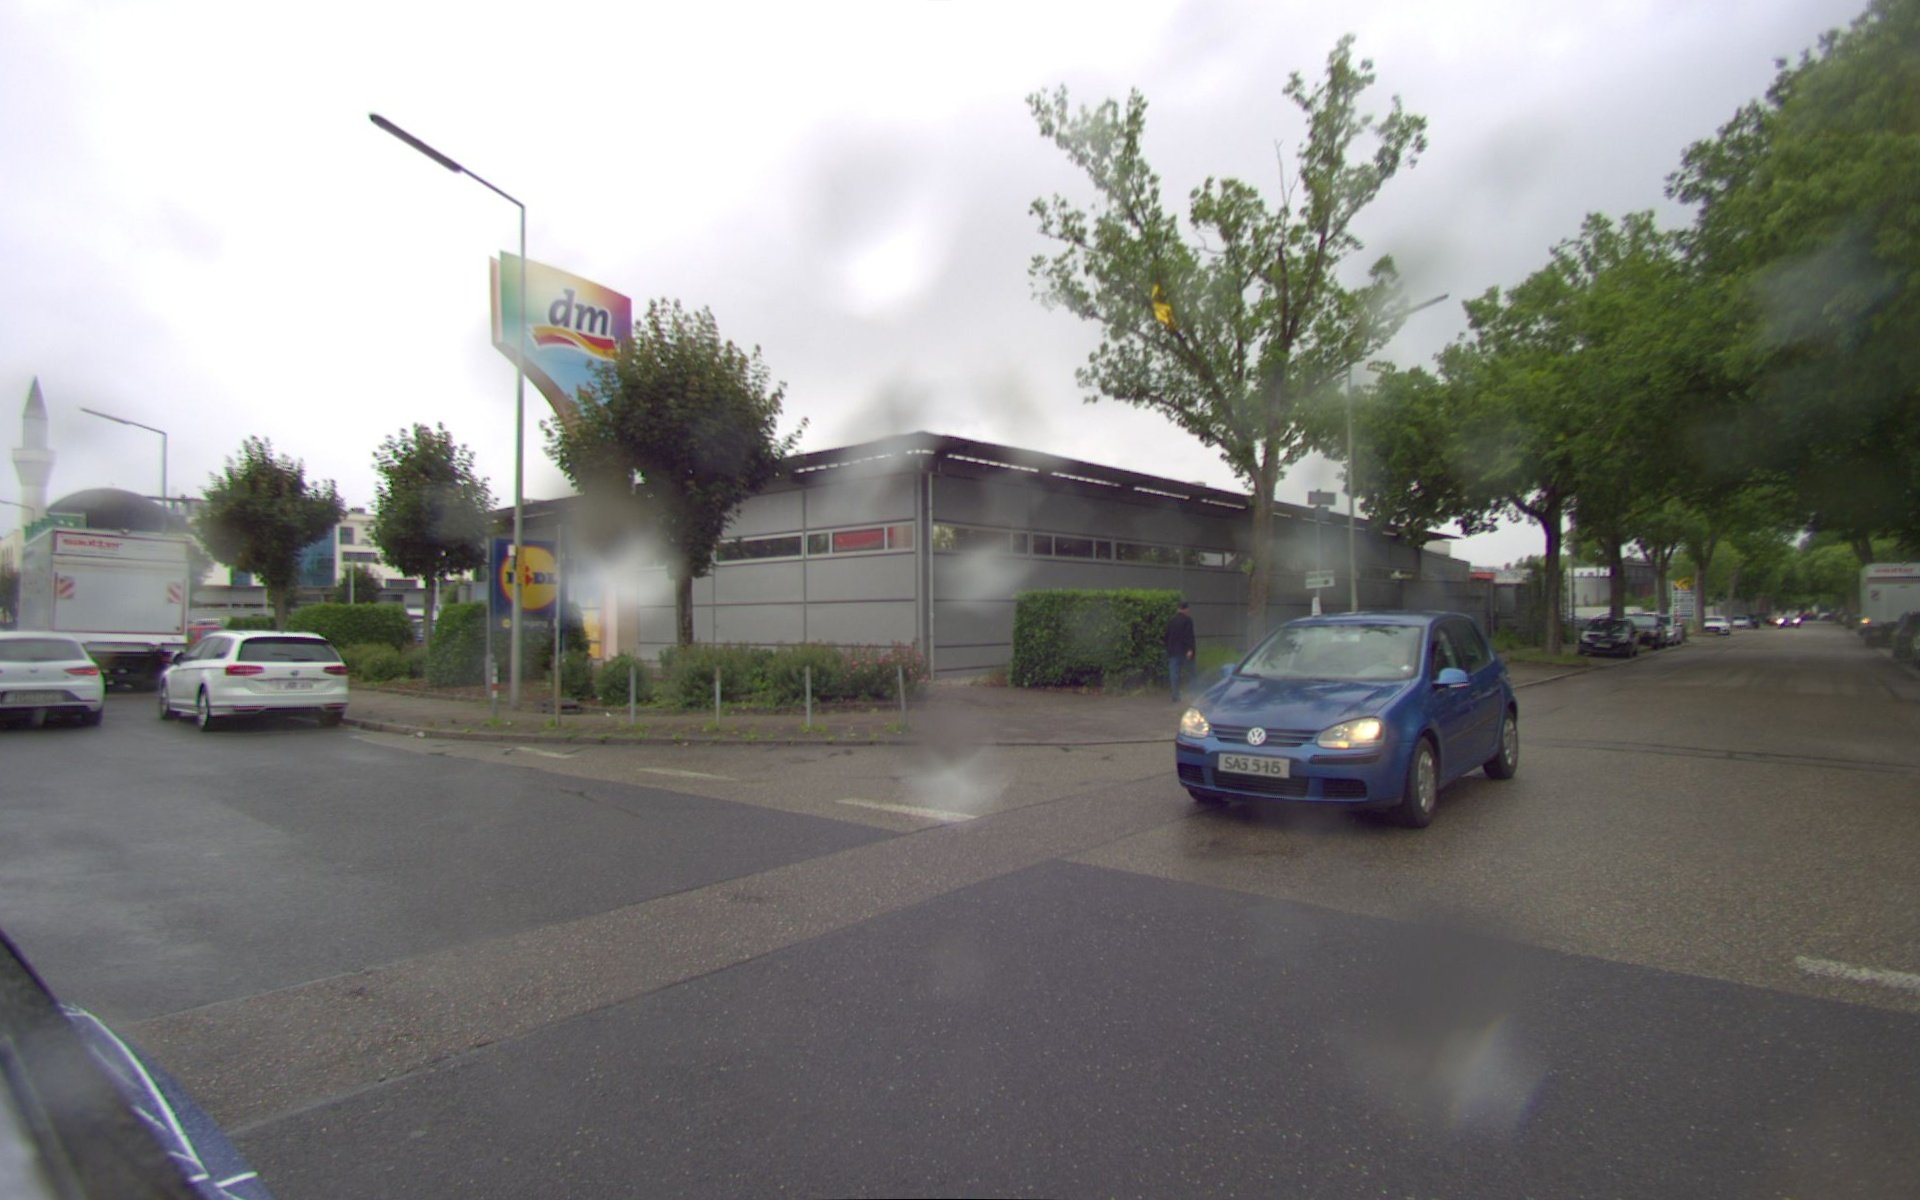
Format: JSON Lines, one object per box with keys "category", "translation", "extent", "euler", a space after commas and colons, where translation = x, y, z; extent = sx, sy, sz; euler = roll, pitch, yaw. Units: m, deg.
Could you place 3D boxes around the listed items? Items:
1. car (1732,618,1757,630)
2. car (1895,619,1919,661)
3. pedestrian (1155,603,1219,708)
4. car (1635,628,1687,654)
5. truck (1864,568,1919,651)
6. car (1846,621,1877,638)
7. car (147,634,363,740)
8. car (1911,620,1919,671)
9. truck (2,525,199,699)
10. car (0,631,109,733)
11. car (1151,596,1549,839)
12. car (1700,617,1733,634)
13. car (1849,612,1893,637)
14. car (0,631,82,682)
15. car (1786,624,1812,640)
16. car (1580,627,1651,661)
{"category": "car", "translation": [80.064, 2.486, 103.270], "extent": [1.571, 1.212, 3.943], "euler": [-2, -2, 43]}
{"category": "car", "translation": [33.369, 1.354, 34.710], "extent": [1.735, 1.393, 4.040], "euler": [-2, -3, 41]}
{"category": "pedestrian", "translation": [3.767, 0.906, 16.782], "extent": [0.758, 1.686, 0.772], "euler": [-2, -2, 39]}
{"category": "car", "translation": [34.520, 2.001, 49.799], "extent": [1.571, 1.212, 3.943], "euler": [-2, -2, 43]}
{"category": "truck", "translation": [42.877, 0.462, 45.899], "extent": [2.601, 3.496, 6.722], "euler": [-1, -2, 41]}
{"category": "car", "translation": [83.566, 2.742, 93.842], "extent": [1.923, 1.584, 3.947], "euler": [-1, -2, 39]}
{"category": "car", "translation": [-11.212, 1.267, 15.979], "extent": [4.490, 1.445, 1.816], "euler": [-2, -3, 42]}
{"category": "car", "translation": [27.711, 1.261, 28.080], "extent": [1.735, 1.393, 4.040], "euler": [-2, -3, 41]}
{"category": "truck", "translation": [-21.932, 0.355, 25.646], "extent": [7.867, 3.775, 2.850], "euler": [-2, -2, 43]}
{"category": "car", "translation": [-14.894, 1.226, 15.908], "extent": [3.998, 1.452, 1.712], "euler": [-2, -3, 41]}
{"category": "car", "translation": [3.311, 0.778, 8.143], "extent": [1.735, 1.452, 3.945], "euler": [-2, -3, 41]}
{"category": "car", "translation": [57.116, 1.926, 76.367], "extent": [1.571, 1.212, 3.943], "euler": [-2, -2, 43]}
{"category": "car", "translation": [59.479, 1.606, 66.136], "extent": [1.923, 1.584, 3.947], "euler": [-1, -2, 39]}
{"category": "car", "translation": [-28.599, 1.693, 31.311], "extent": [3.511, 1.477, 1.670], "euler": [-2, -2, 40]}
{"category": "car", "translation": [86.022, 3.238, 103.764], "extent": [1.923, 1.584, 3.947], "euler": [-1, -2, 39]}
{"category": "car", "translation": [24.673, 1.622, 38.057], "extent": [1.571, 1.212, 3.943], "euler": [-2, -2, 43]}
